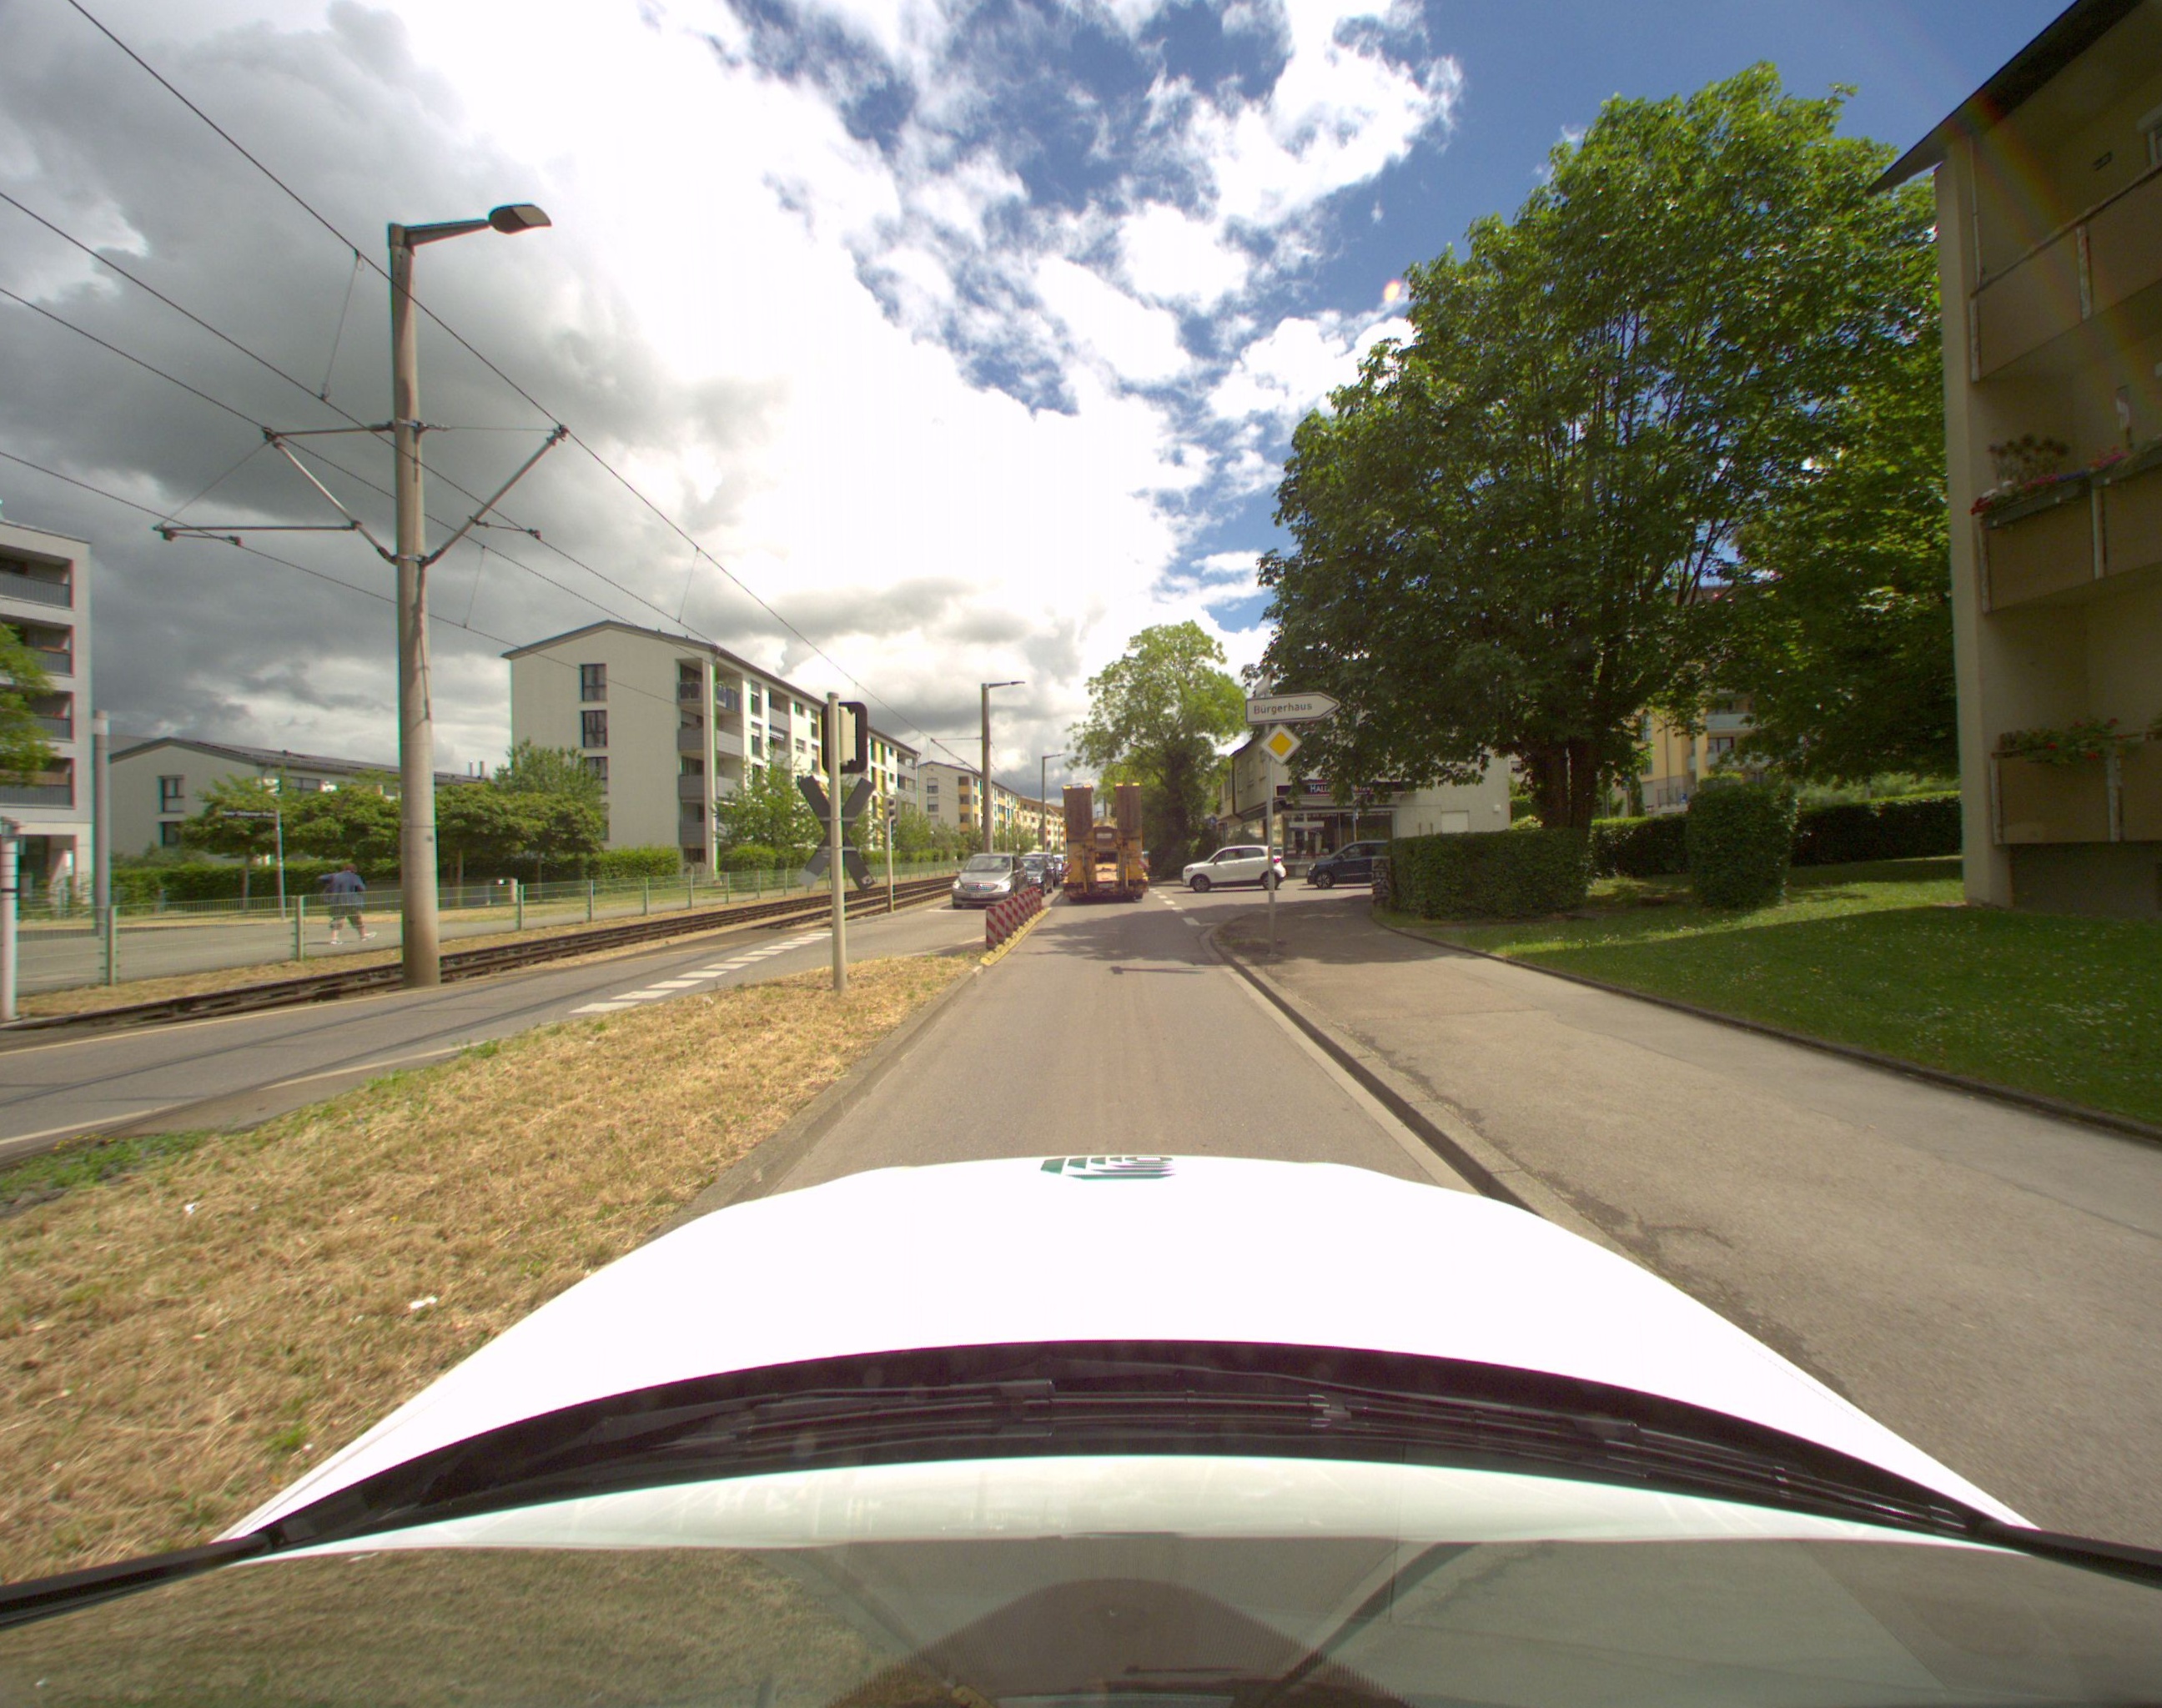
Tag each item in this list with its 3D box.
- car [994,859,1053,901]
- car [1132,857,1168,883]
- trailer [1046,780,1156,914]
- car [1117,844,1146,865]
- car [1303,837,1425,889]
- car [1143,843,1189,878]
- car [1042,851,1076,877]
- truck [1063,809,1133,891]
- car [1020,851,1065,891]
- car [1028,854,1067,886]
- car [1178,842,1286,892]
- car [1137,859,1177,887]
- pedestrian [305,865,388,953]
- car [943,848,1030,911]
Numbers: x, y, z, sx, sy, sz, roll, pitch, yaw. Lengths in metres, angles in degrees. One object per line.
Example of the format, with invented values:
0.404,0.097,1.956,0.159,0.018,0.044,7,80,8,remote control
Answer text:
-2.061,0.923,30.245,1.594,1.381,3.961,-3,-1,4,car
4.377,0.990,52.383,1.987,1.387,4.001,-3,1,1,car
0.505,-0.296,29.584,3.042,3.772,11.608,-3,1,-1,trailer
3.769,0.022,61.642,1.987,1.387,4.001,-3,1,1,car
9.428,0.297,27.274,3.667,1.522,2.010,-3,1,18,car
4.426,0.293,42.796,1.987,1.618,4.001,-3,1,1,car
-1.426,0.614,54.527,1.987,1.520,3.892,-3,1,1,car
0.657,-0.215,38.585,2.825,3.330,7.981,-3,1,-1,truck
-1.796,0.790,39.014,1.594,1.732,3.942,-3,-1,4,car
-1.900,0.881,47.262,1.987,1.593,3.892,-3,1,1,car
5.380,0.454,28.845,3.573,1.584,2.007,-3,-1,13,car
4.412,1.070,47.821,1.987,1.387,4.001,-3,1,1,car
-14.658,1.077,16.267,0.746,1.661,0.870,-3,1,5,pedestrian
-2.738,0.726,24.480,1.794,1.652,4.136,-3,-1,4,car
